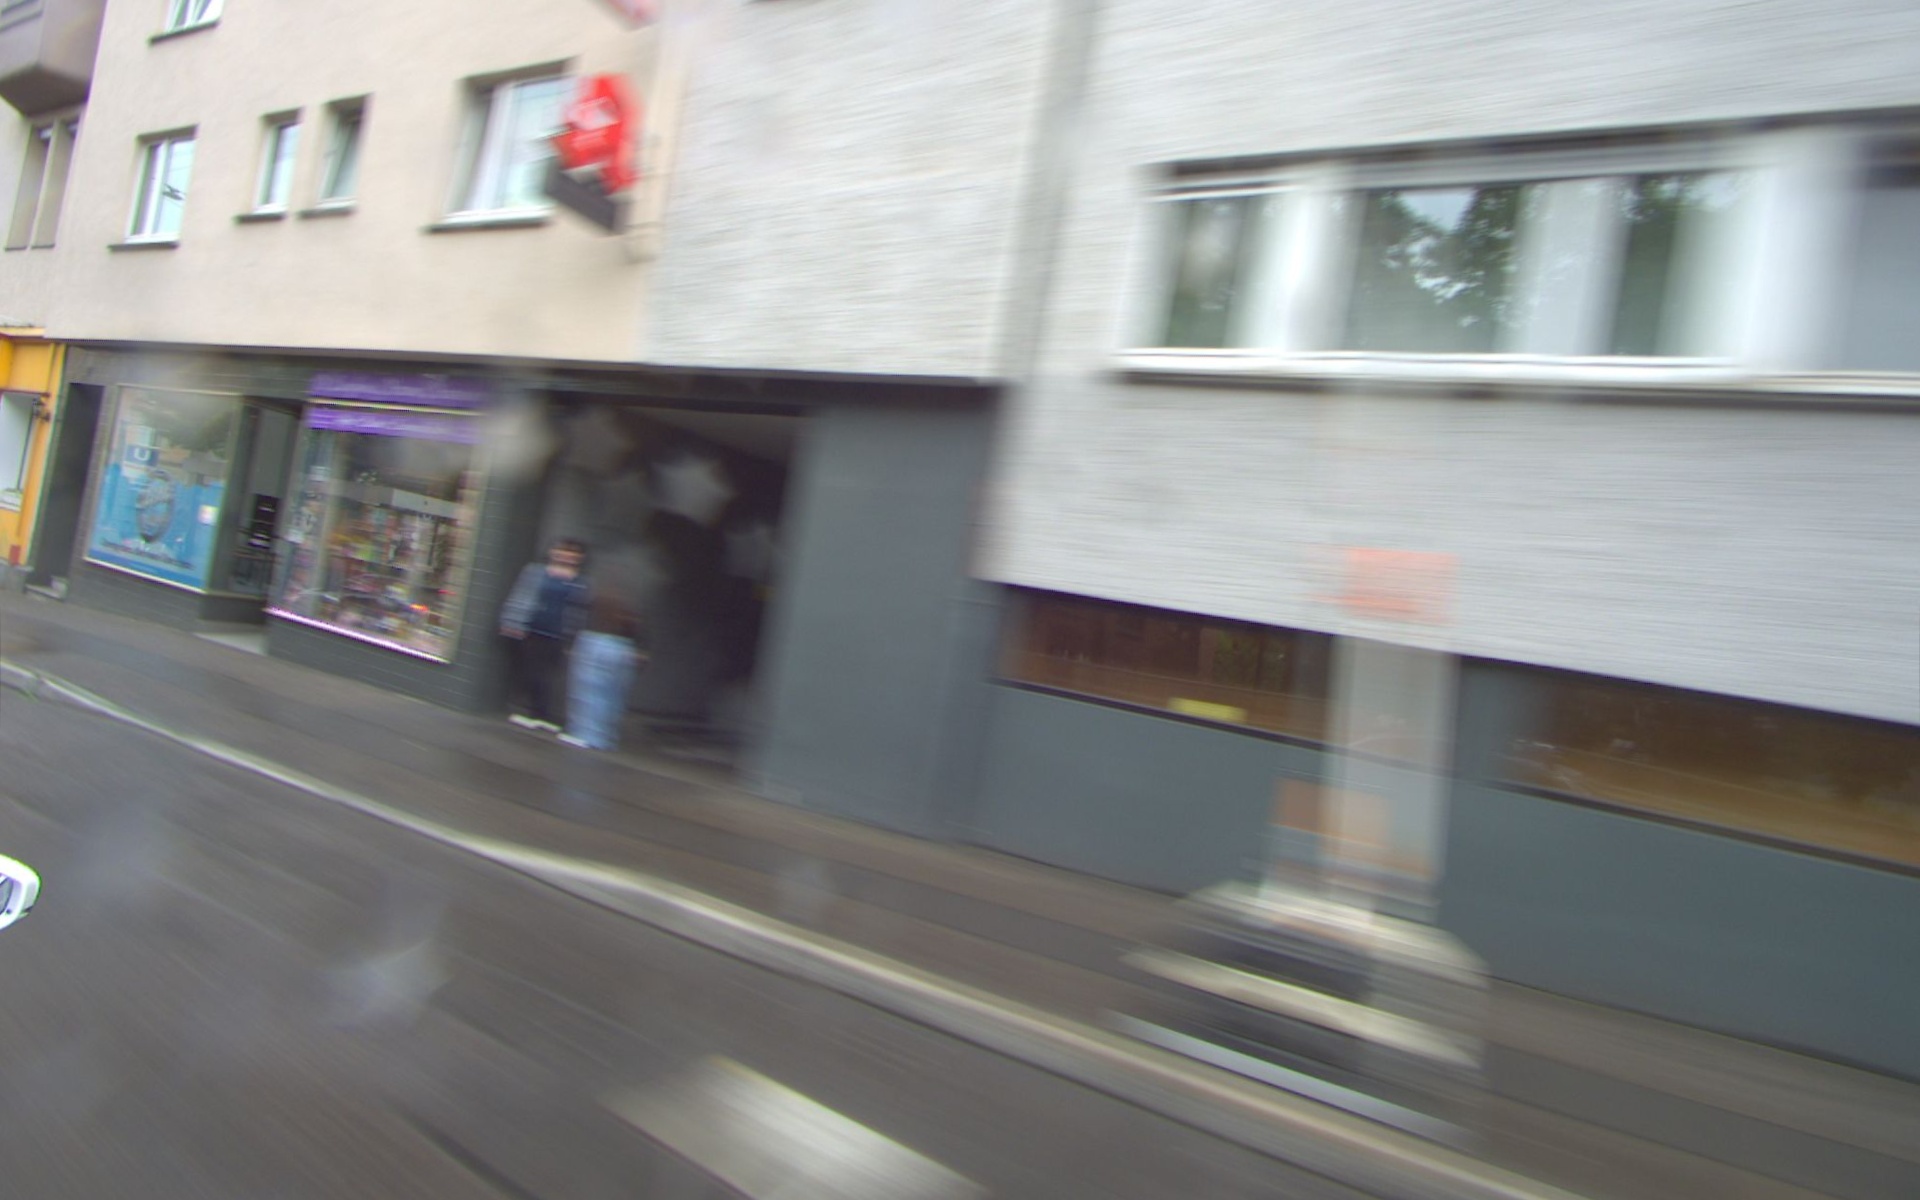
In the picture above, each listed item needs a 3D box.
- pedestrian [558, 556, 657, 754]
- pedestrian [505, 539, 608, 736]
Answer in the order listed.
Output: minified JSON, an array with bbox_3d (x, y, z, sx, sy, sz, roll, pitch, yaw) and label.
[{"bbox_3d":[-3.072,0.491,8.796,0.326,1.663,0.482,7,-2,33],"label":"pedestrian"},{"bbox_3d":[-3.740,0.347,9.330,0.509,1.738,0.461,6,-3,38],"label":"pedestrian"}]
